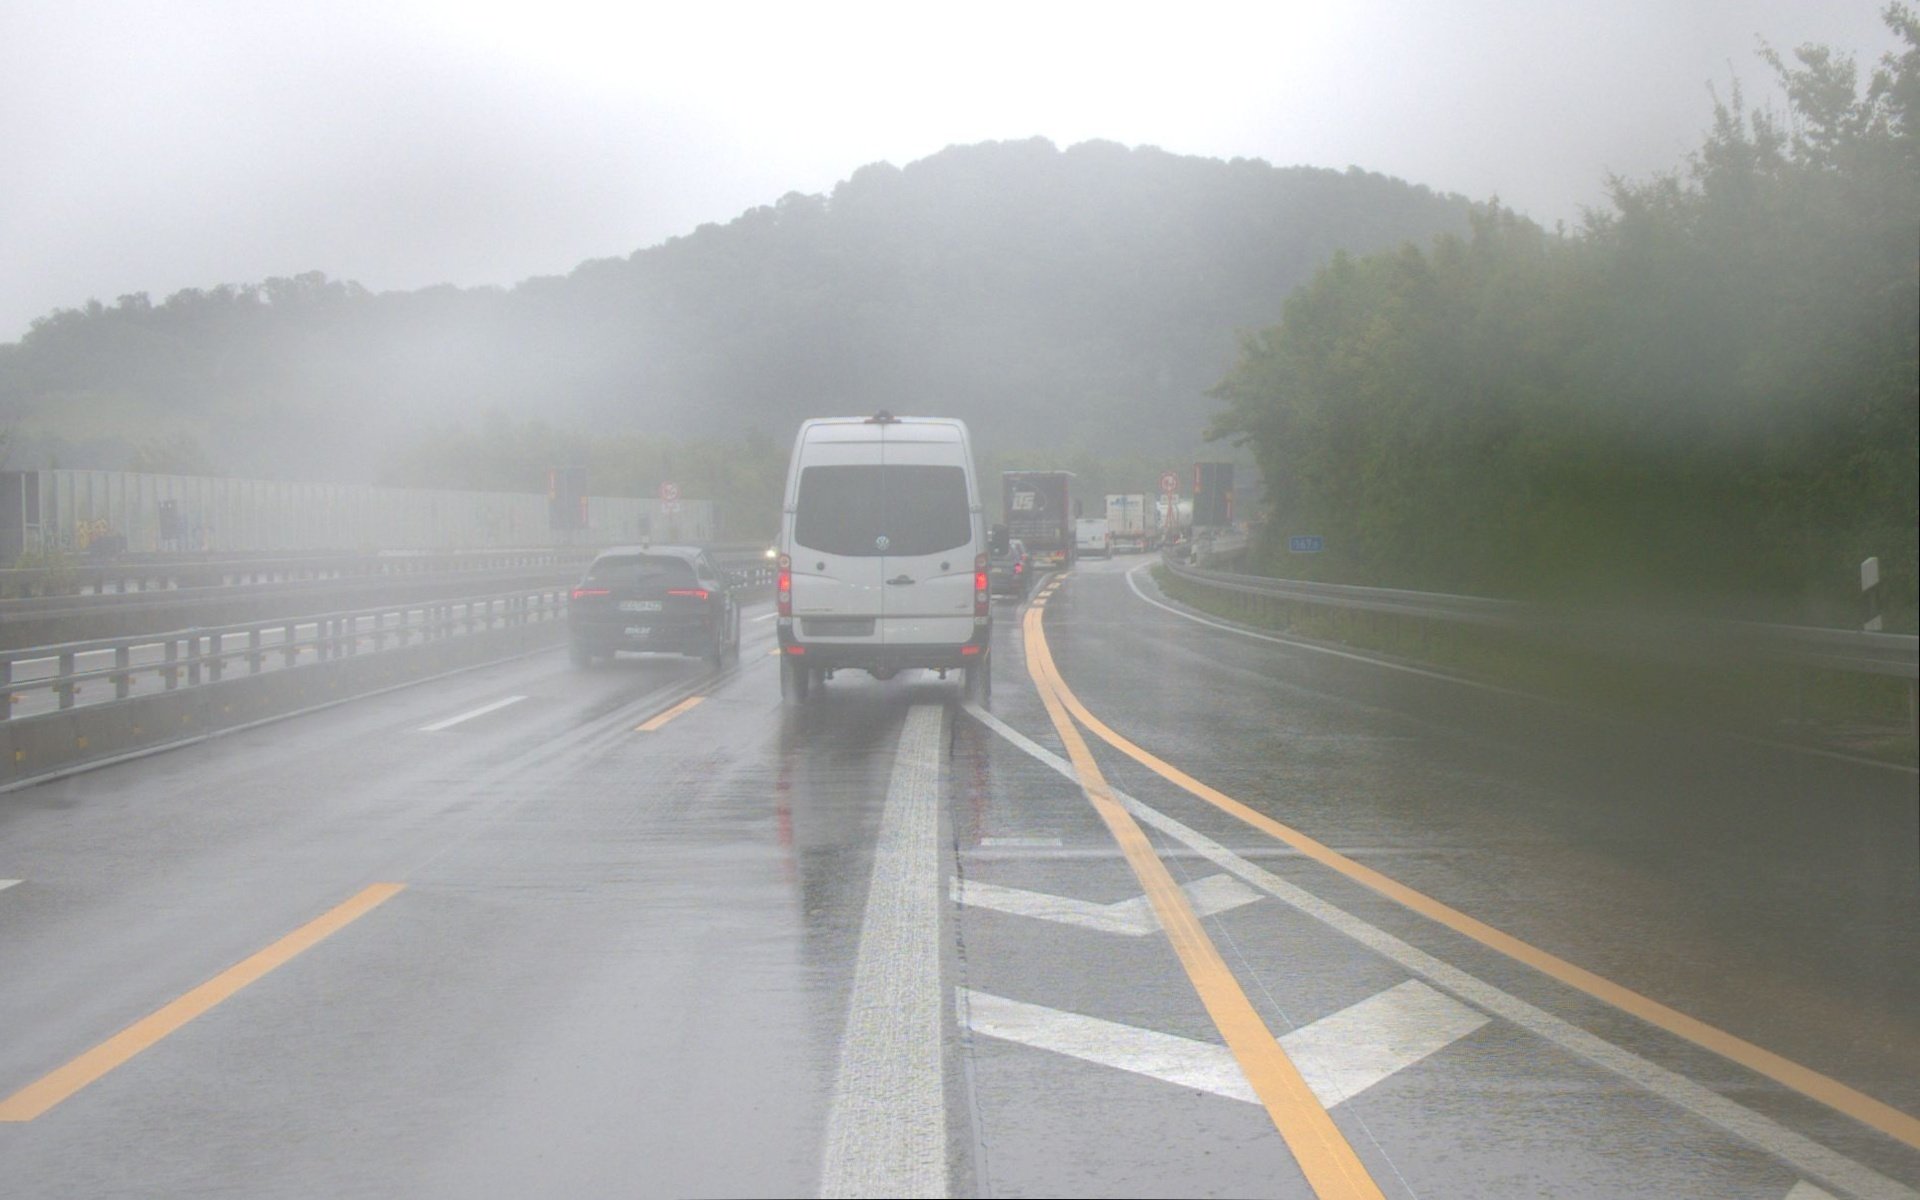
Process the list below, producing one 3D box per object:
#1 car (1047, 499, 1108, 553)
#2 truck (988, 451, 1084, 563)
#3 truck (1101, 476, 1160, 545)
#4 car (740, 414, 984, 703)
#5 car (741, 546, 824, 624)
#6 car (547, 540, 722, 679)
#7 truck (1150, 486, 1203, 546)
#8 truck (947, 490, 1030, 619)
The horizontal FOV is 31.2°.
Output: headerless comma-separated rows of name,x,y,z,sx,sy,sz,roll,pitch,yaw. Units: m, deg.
car,6.463,-4.000,188.128,2.899,2.877,6.410,1,1,6
truck,3.183,-3.750,140.803,3.581,4.391,9.623,1,1,3
truck,11.246,-5.851,226.066,3.037,4.391,9.621,1,1,8
car,-0.854,-0.408,33.396,2.145,2.562,5.390,1,1,1
car,-3.833,-0.347,74.758,1.707,1.622,4.000,1,1,-2
car,-3.819,0.080,40.891,1.946,1.556,4.001,1,1,-4
truck,16.395,-6.328,259.903,2.899,4.391,9.620,1,1,10
truck,0.750,-1.154,87.165,1.993,3.098,8.499,1,1,1
